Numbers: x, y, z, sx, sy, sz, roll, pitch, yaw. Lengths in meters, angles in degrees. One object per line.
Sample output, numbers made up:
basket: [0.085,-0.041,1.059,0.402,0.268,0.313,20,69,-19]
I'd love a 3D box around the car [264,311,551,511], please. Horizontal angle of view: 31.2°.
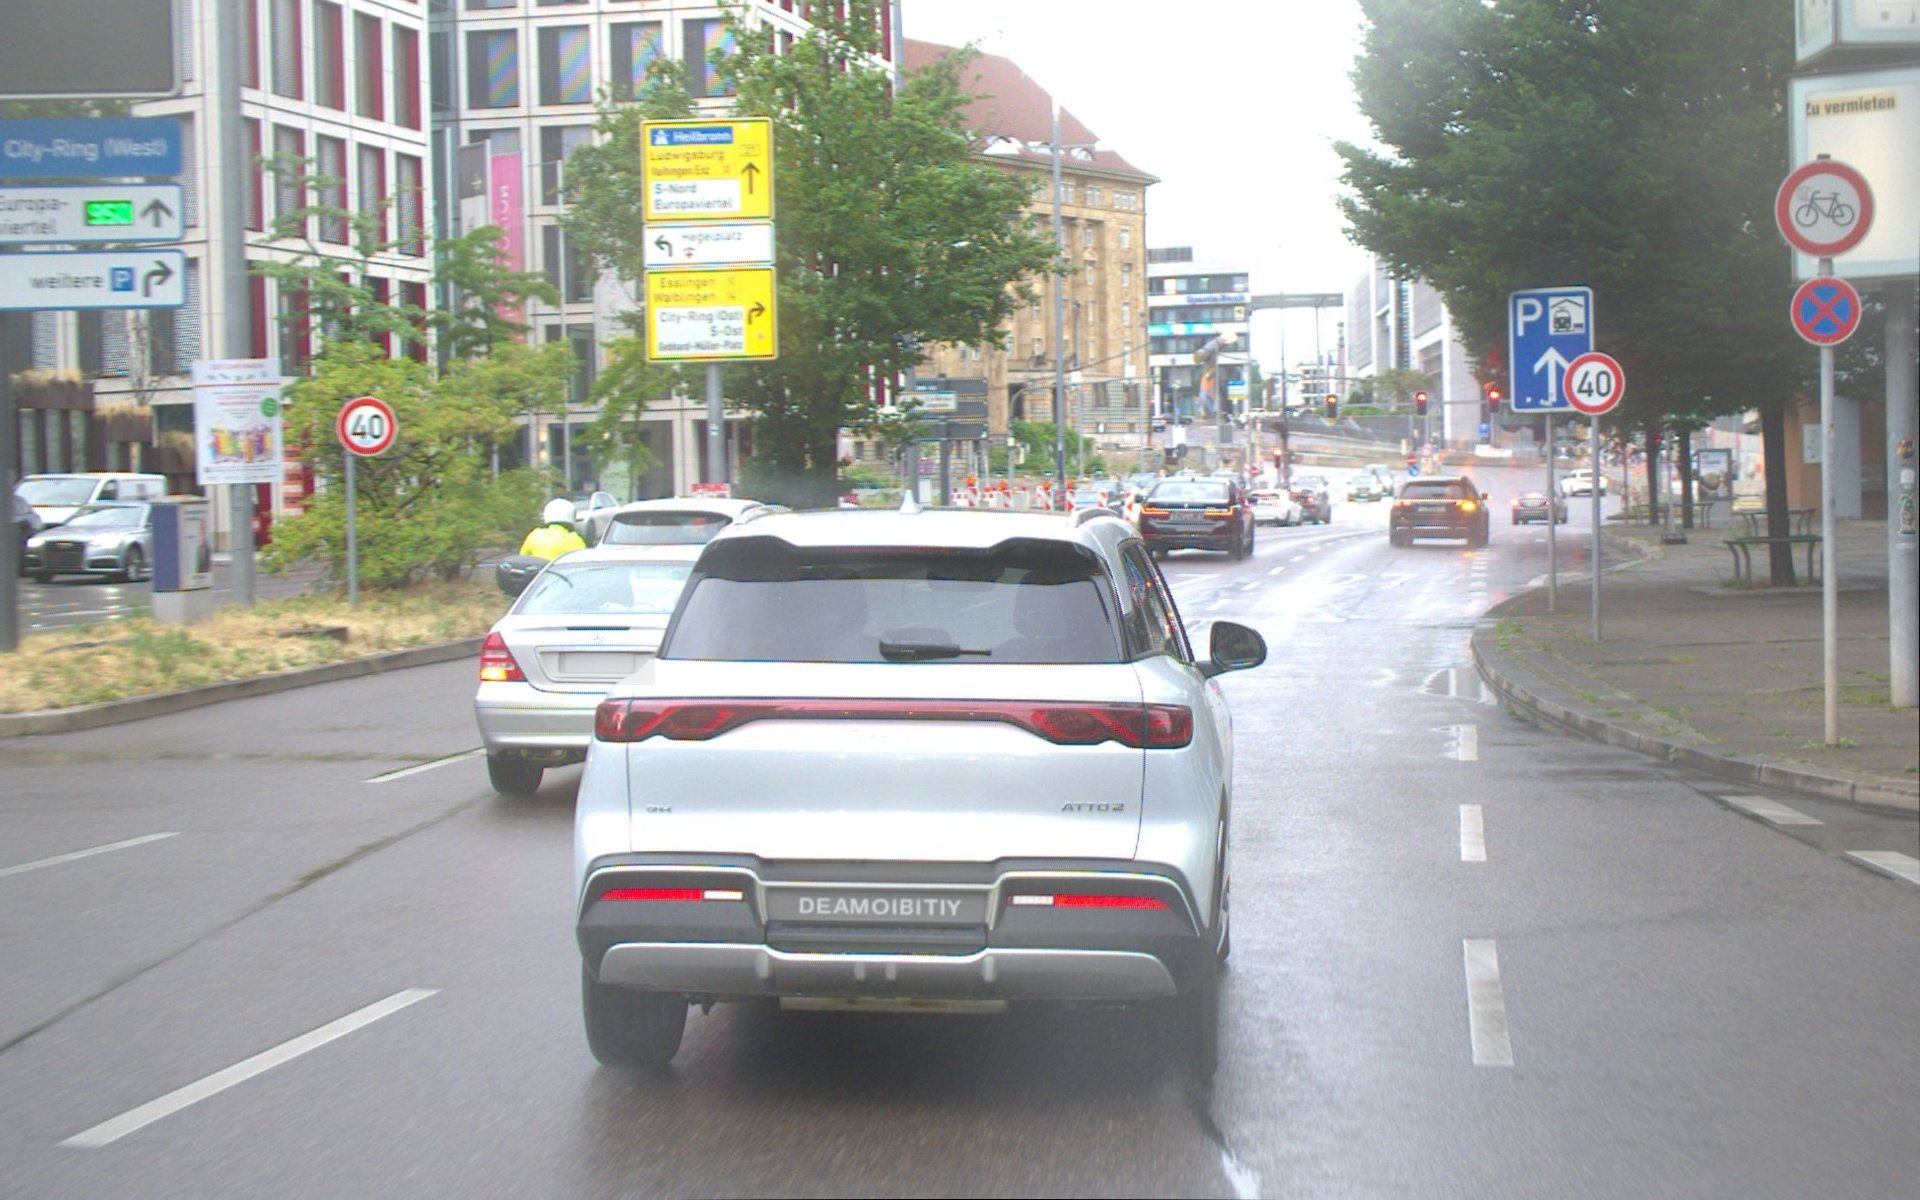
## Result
car: [-6.182,-2.076,39.059,1.994,2.007,4.847,0,0,6]

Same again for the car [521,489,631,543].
car: [-10.929,-2.405,98.040,1.994,1.483,3.998,0,2,11]

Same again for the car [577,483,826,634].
car: [-2.631,-0.414,35.890,1.707,1.481,3.998,0,0,9]

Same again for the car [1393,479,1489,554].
car: [10.098,-1.729,71.980,1.694,1.481,3.998,0,0,12]

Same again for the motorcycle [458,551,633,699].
motorcycle: [-3.414,0.196,28.515,0.800,1.180,2.027,0,0,13]

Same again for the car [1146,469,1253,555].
car: [4.415,-1.584,62.914,1.571,1.481,3.998,0,0,9]

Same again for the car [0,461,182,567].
car: [-17.336,-1.714,67.937,1.994,2.004,4.925,0,2,11]

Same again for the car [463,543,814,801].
car: [-1.842,0.383,20.788,1.571,1.402,4.109,0,0,2]

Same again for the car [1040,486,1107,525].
car: [4.454,-3.698,134.340,1.994,1.481,3.998,0,2,11]

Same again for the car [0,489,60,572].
car: [-18.064,-1.242,61.967,1.994,1.483,3.998,0,2,11]

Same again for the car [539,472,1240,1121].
car: [-0.030,0.499,10.938,1.776,1.673,3.999,0,0,6]

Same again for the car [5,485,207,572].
car: [-15.245,-1.299,61.608,1.994,1.483,3.998,0,2,11]

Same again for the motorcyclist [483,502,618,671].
motorcyclist: [-3.401,-0.114,28.599,0.770,1.375,1.117,0,0,14]

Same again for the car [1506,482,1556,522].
car: [22.747,-3.885,136.870,1.694,1.481,3.997,0,0,13]

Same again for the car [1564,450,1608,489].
car: [35.077,-7.302,192.702,1.994,2.007,3.999,0,0,4]

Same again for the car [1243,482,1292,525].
car: [12.134,-3.786,135.537,1.888,1.637,3.999,0,1,6]
